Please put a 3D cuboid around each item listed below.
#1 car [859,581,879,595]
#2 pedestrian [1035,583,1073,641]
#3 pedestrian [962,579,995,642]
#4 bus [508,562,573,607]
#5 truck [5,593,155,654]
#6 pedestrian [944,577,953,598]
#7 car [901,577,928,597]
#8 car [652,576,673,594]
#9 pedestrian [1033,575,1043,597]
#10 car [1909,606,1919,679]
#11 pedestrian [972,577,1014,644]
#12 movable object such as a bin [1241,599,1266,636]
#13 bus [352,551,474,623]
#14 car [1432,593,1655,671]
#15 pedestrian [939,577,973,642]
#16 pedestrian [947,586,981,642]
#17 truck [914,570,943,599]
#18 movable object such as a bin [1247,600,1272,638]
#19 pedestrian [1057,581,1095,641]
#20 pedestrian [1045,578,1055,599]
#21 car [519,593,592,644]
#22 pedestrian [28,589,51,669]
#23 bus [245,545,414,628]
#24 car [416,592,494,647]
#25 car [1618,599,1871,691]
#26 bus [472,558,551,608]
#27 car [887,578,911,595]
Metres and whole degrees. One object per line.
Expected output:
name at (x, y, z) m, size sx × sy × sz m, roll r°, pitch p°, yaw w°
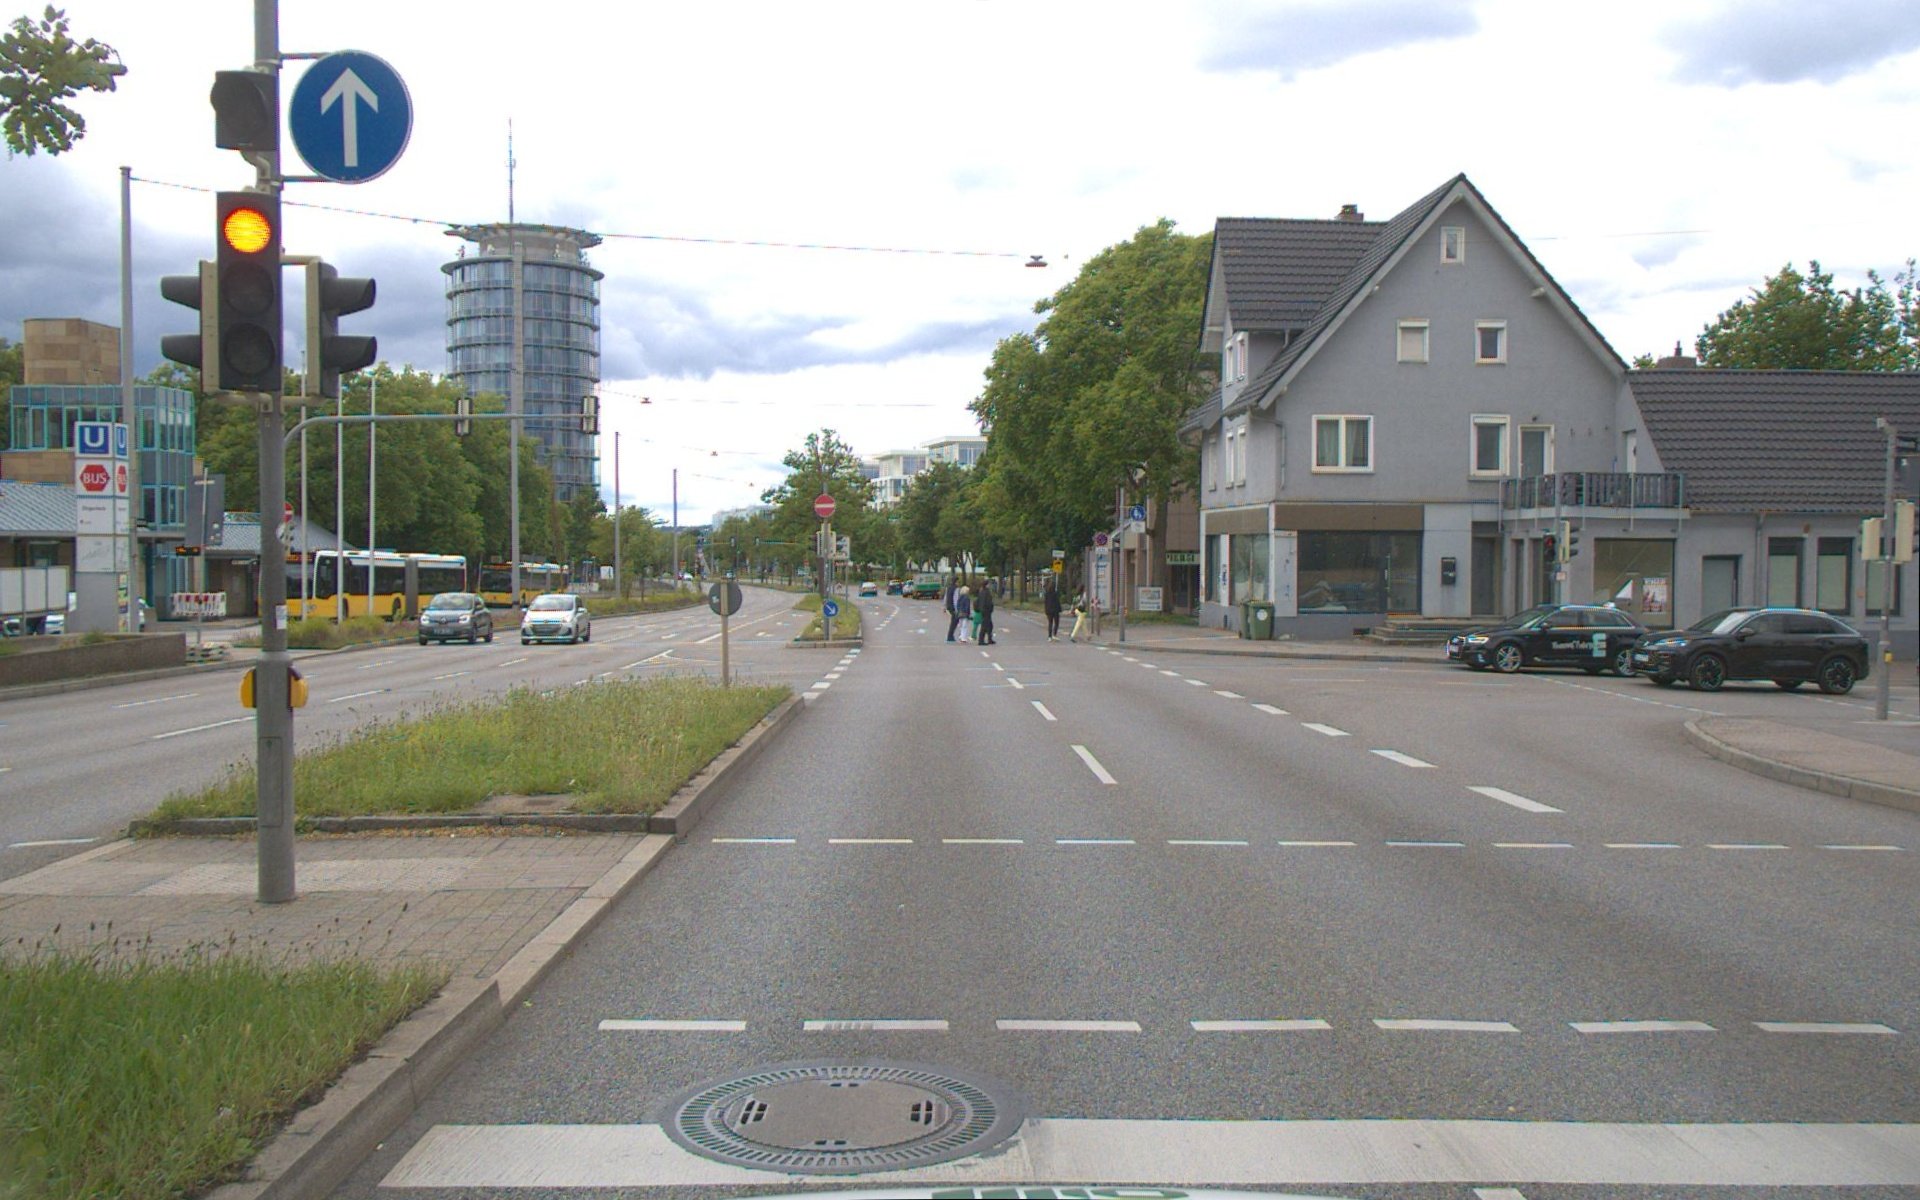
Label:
car at (-9.318, -1.234, 169.330) m, size 1.929 × 1.444 × 4.017 m, roll 0°, pitch 0°, yaw -6°
pedestrian at (2.744, 0.341, 48.322) m, size 0.864 × 1.691 × 0.696 m, roll 0°, pitch 0°, yaw -45°
pedestrian at (0.554, 0.305, 48.739) m, size 0.851 × 1.811 × 0.706 m, roll 0°, pitch 0°, yaw -10°
bus at (-31.145, -1.129, 123.006) m, size 3.081 × 3.281 × 7.762 m, roll 0°, pitch 0°, yaw -2°
truck at (-23.624, 0.588, 44.551) m, size 1.953 × 1.544 × 3.999 m, roll 0°, pitch 0°, yaw -1°
pedestrian at (-1.309, -1.411, 186.321) m, size 0.914 × 2.349 × 1.008 m, roll 1°, pitch -1°, yaw -10°
car at (-4.320, -1.206, 155.244) m, size 2.207 × 1.787 × 4.927 m, roll 0°, pitch 0°, yaw -5°
car at (-35.905, -1.825, 199.737) m, size 1.925 × 2.049 × 3.999 m, roll 1°, pitch 0°, yaw -1°
pedestrian at (5.753, -1.000, 121.641) m, size 0.638 × 1.597 × 0.669 m, roll 0°, pitch 0°, yaw -9°
car at (22.716, 0.983, 35.173) m, size 4.018 × 1.567 × 1.828 m, roll 2°, pitch 0°, yaw -2°
pedestrian at (0.899, 0.277, 44.864) m, size 1.030 × 1.791 × 0.706 m, roll 0°, pitch 0°, yaw -10°
movable object such as a bin at (7.968, 0.464, 44.947) m, size 0.518 × 0.997 × 0.736 m, roll 0°, pitch 0°, yaw -1°
bus at (-26.544, -0.610, 80.713) m, size 2.927 × 3.327 × 7.879 m, roll -1°, pitch 0°, yaw 3°
car at (12.247, 0.663, 34.883) m, size 4.004 × 1.521 × 1.894 m, roll 1°, pitch 0°, yaw -4°
pedestrian at (-0.111, 0.274, 46.683) m, size 0.851 × 1.811 × 0.706 m, roll 0°, pitch 0°, yaw -10°
pedestrian at (0.110, 0.376, 45.809) m, size 0.851 × 1.533 × 0.706 m, roll 0°, pitch 0°, yaw -10°
truck at (-2.745, -1.312, 143.106) m, size 2.207 × 2.459 × 4.927 m, roll 0°, pitch 0°, yaw -5°
movable object such as a bin at (7.999, 0.497, 44.157) m, size 0.518 × 0.997 × 0.736 m, roll 0°, pitch 0°, yaw -1°
pedestrian at (3.338, 0.314, 47.576) m, size 0.861 × 1.691 × 0.698 m, roll 0°, pitch 0°, yaw -37°
pedestrian at (6.637, -0.846, 121.661) m, size 0.638 × 1.597 × 0.669 m, roll 0°, pitch 0°, yaw -9°
car at (-12.363, 0.552, 50.721) m, size 1.651 × 1.488 × 3.552 m, roll 0°, pitch 0°, yaw -5°
pedestrian at (-18.691, 0.586, 33.582) m, size 0.414 × 1.619 × 0.353 m, roll 0°, pitch 0°, yaw -30°
bus at (-27.081, -0.558, 71.689) m, size 2.927 × 3.307 × 10.174 m, roll -1°, pitch 0°, yaw 3°
car at (-15.472, 0.566, 50.809) m, size 1.652 × 1.606 × 3.344 m, roll 0°, pitch 0°, yaw -6°
car at (14.969, 0.843, 31.657) m, size 3.981 × 1.547 × 1.838 m, roll 2°, pitch 0°, yaw -7°
bus at (-30.783, -1.114, 114.007) m, size 3.082 × 3.281 × 10.279 m, roll 0°, pitch 0°, yaw -3°
car at (-6.380, -1.378, 171.541) m, size 2.207 × 1.676 × 4.927 m, roll 0°, pitch 0°, yaw -6°
